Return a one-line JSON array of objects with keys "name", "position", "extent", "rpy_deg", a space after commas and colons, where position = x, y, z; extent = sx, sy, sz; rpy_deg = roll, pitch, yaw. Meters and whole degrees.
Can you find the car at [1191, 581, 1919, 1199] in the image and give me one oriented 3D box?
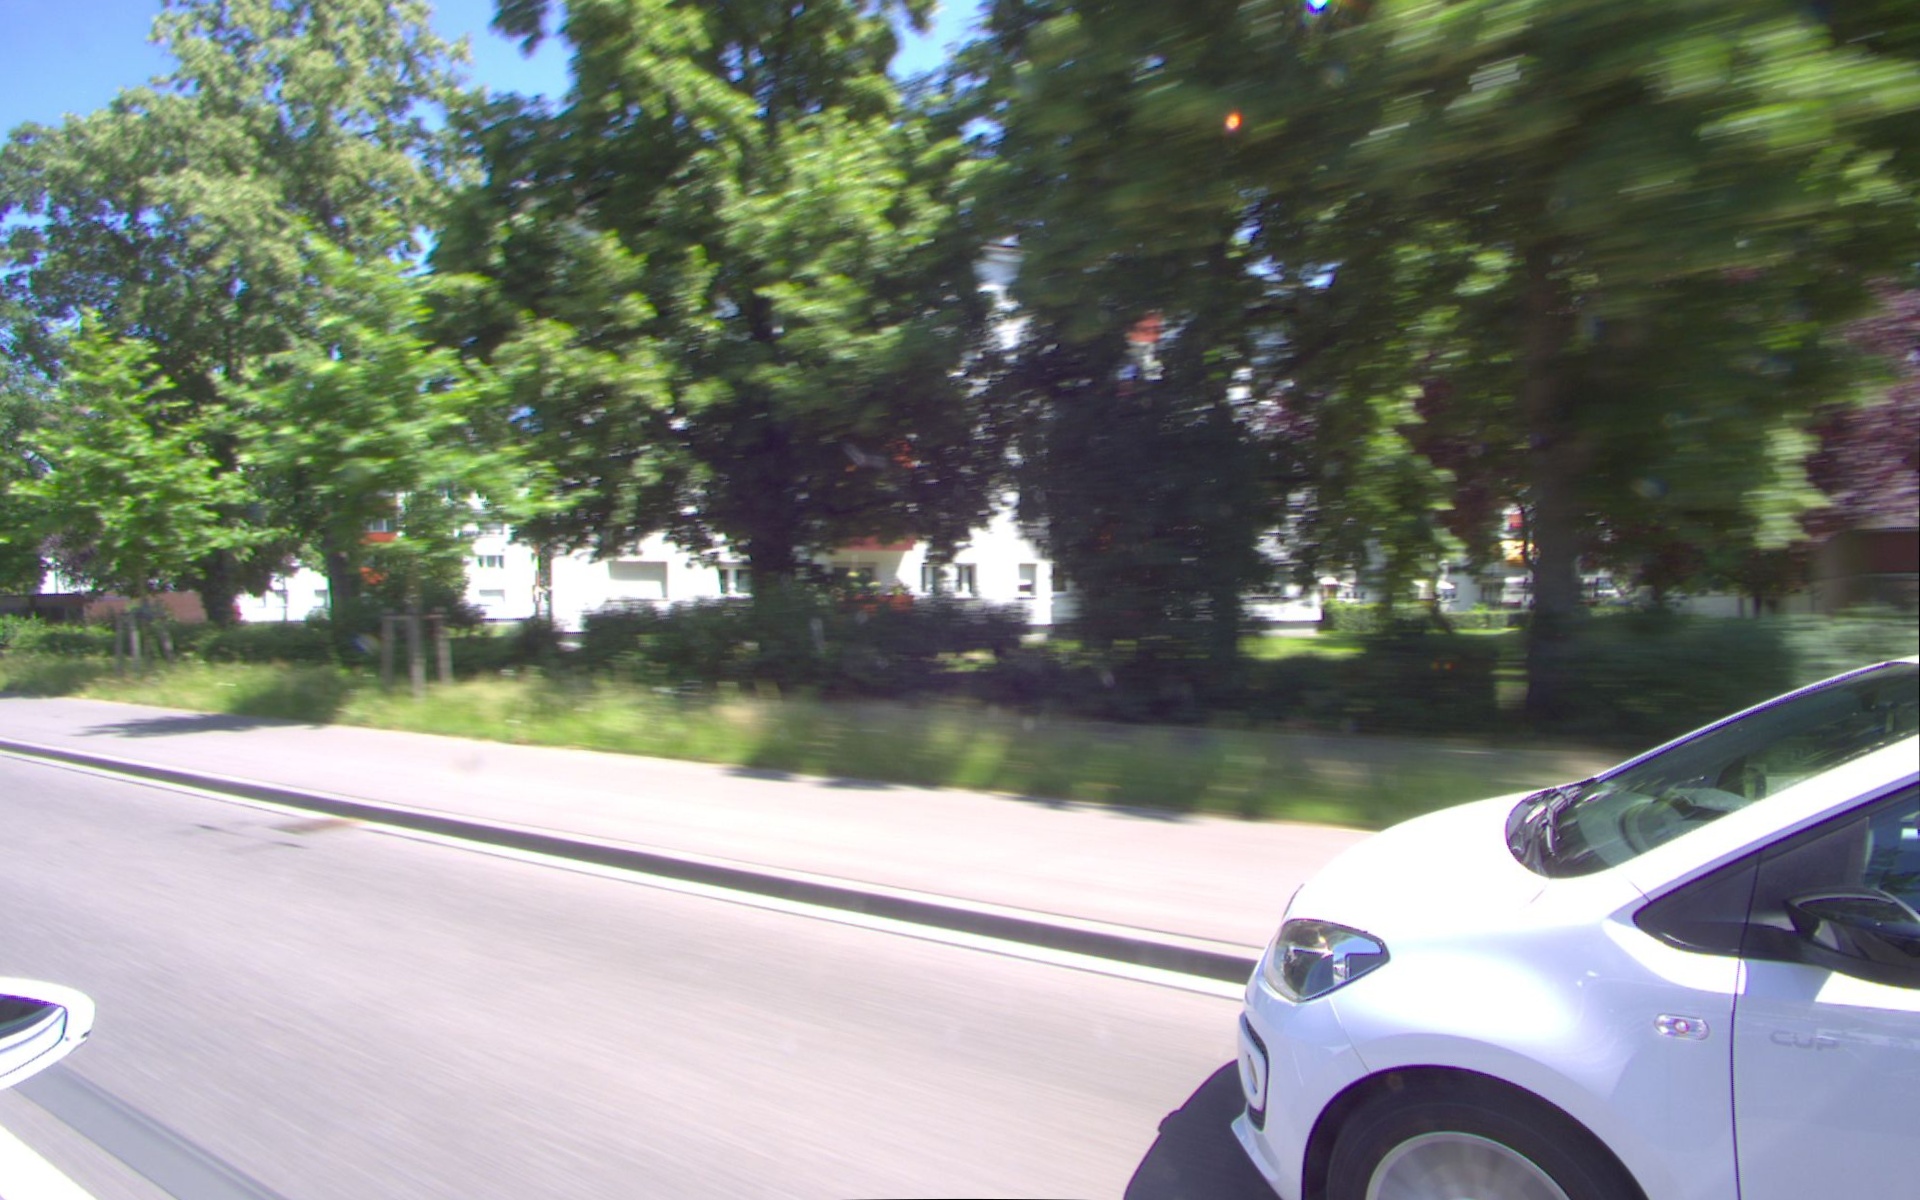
[{"name": "car", "position": [2.553, 0.718, 1.916], "extent": [3.799, 1.468, 1.656], "rpy_deg": [0, -1, 33]}]
